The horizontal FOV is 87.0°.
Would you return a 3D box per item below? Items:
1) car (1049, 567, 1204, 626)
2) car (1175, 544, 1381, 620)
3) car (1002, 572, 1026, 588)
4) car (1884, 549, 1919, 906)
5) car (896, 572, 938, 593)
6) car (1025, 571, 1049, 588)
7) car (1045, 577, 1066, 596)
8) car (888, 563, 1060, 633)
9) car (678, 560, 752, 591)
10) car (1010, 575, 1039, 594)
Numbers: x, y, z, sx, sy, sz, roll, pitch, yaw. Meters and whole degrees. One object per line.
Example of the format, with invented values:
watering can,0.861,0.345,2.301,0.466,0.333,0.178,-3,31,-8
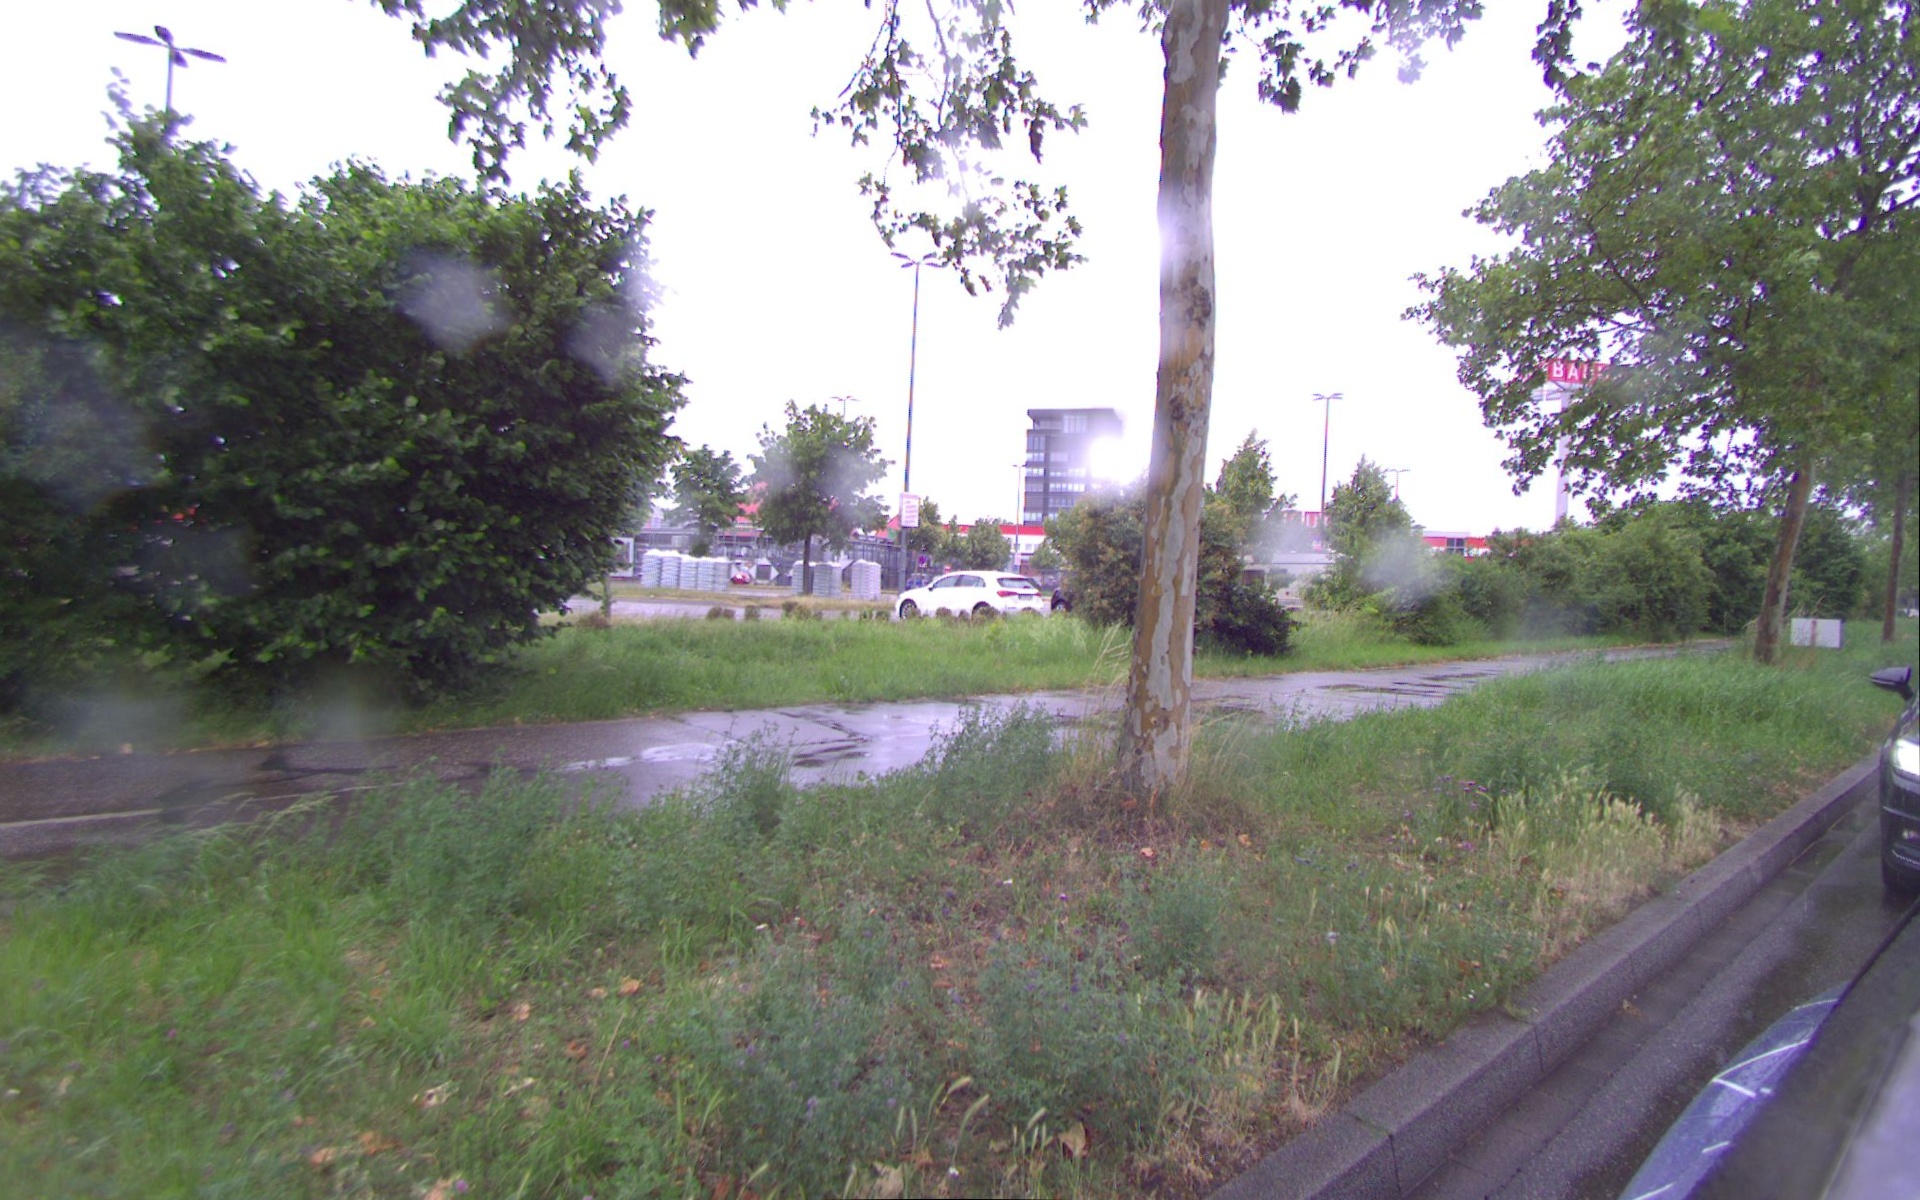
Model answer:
car,4.929,-0.152,30.282,1.899,1.571,4.262,0,2,-45
car,10.955,-0.705,35.270,6.399,2.392,2.357,3,2,41
car,6.018,-2.278,112.486,1.973,1.697,4.257,2,2,13
car,6.555,0.578,5.602,4.548,1.625,1.768,0,0,-43
car,-3.309,-1.406,79.226,1.905,1.571,4.249,2,2,18
car,8.513,-2.287,111.885,1.973,1.697,4.257,2,2,13
car,9.281,-1.365,98.369,1.968,1.697,4.267,2,2,6
car,0.287,-0.110,25.927,1.899,1.571,4.262,0,2,-45
car,-14.642,-1.448,60.563,3.937,1.749,1.885,0,0,12
car,6.041,-1.449,94.710,1.973,1.697,4.255,2,2,14
